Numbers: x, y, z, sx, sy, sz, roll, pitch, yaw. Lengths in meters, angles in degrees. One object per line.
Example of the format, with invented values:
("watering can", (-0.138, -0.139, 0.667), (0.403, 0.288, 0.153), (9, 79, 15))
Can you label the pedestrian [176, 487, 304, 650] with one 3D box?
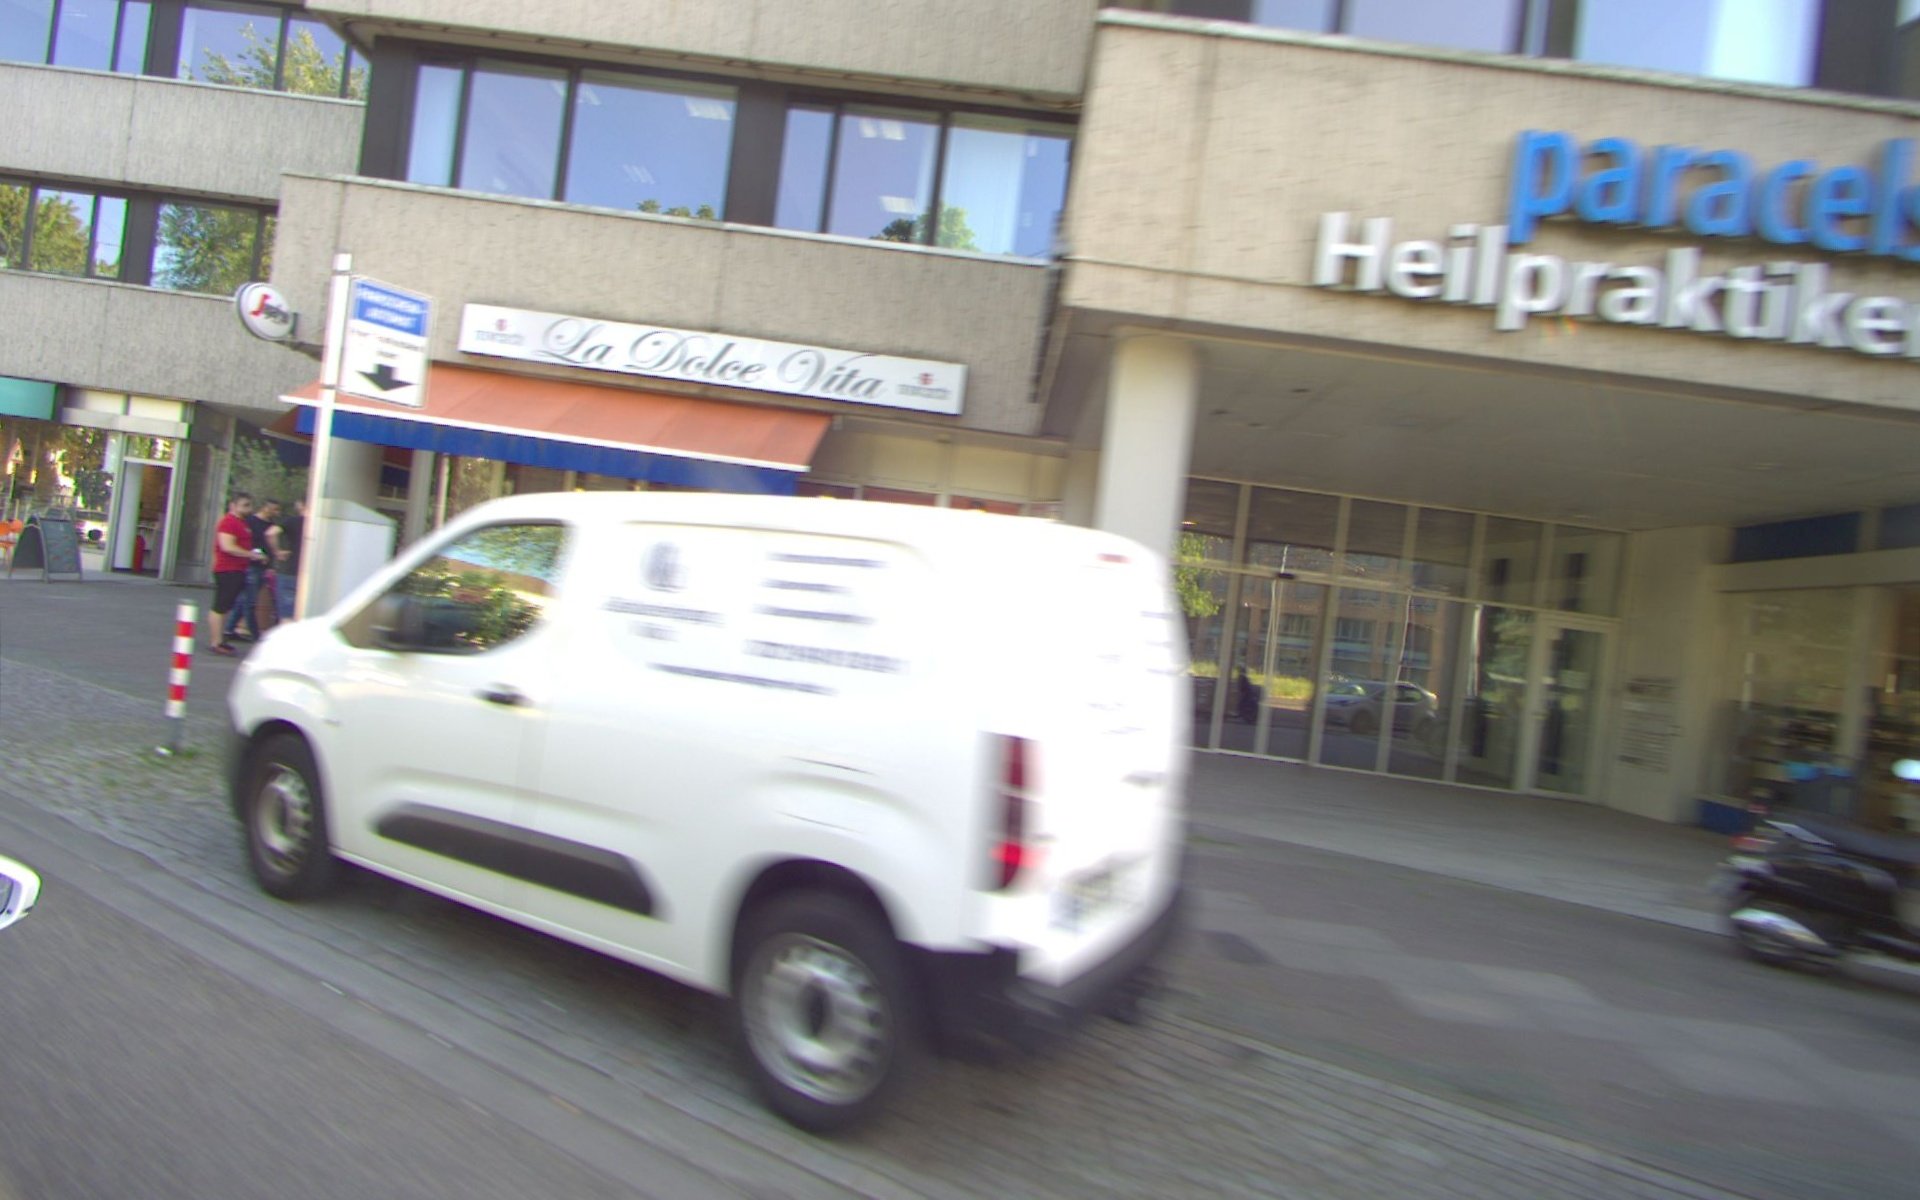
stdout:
("pedestrian", (-8.260, -0.351, 11.574), (0.706, 1.732, 0.843), (6, 1, 0))

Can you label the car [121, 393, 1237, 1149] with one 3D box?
("car", (-1.248, 0.341, 4.316), (4.235, 1.833, 2.000), (5, -3, 28))

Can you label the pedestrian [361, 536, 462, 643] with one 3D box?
("pedestrian", (-8.011, -0.131, 14.725), (0.815, 1.418, 0.844), (8, -1, 3))

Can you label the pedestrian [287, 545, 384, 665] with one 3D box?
("pedestrian", (-6.877, 0.060, 11.086), (0.614, 1.252, 0.630), (5, 1, 31))

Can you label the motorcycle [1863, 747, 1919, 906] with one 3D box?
("motorcycle", (8.384, 1.906, 7.713), (2.062, 1.181, 0.513), (8, -2, 17))

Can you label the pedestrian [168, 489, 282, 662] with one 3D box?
("pedestrian", (-7.808, -0.258, 10.695), (0.686, 1.733, 0.585), (5, -2, 31))

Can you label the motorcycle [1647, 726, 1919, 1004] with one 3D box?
("motorcycle", (4.850, 1.389, 5.213), (2.017, 1.169, 0.763), (5, 0, 38))

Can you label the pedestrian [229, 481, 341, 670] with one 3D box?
("pedestrian", (-7.005, -0.246, 10.449), (0.600, 1.880, 0.671), (5, 1, 31))

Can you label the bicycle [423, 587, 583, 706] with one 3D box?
("bicycle", (-4.790, 0.481, 10.518), (1.616, 1.046, 0.564), (5, -3, 29))

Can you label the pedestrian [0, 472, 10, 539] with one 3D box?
("pedestrian", (-17.328, -1.422, 17.223), (1.005, 1.762, 1.135), (5, -3, 30))
